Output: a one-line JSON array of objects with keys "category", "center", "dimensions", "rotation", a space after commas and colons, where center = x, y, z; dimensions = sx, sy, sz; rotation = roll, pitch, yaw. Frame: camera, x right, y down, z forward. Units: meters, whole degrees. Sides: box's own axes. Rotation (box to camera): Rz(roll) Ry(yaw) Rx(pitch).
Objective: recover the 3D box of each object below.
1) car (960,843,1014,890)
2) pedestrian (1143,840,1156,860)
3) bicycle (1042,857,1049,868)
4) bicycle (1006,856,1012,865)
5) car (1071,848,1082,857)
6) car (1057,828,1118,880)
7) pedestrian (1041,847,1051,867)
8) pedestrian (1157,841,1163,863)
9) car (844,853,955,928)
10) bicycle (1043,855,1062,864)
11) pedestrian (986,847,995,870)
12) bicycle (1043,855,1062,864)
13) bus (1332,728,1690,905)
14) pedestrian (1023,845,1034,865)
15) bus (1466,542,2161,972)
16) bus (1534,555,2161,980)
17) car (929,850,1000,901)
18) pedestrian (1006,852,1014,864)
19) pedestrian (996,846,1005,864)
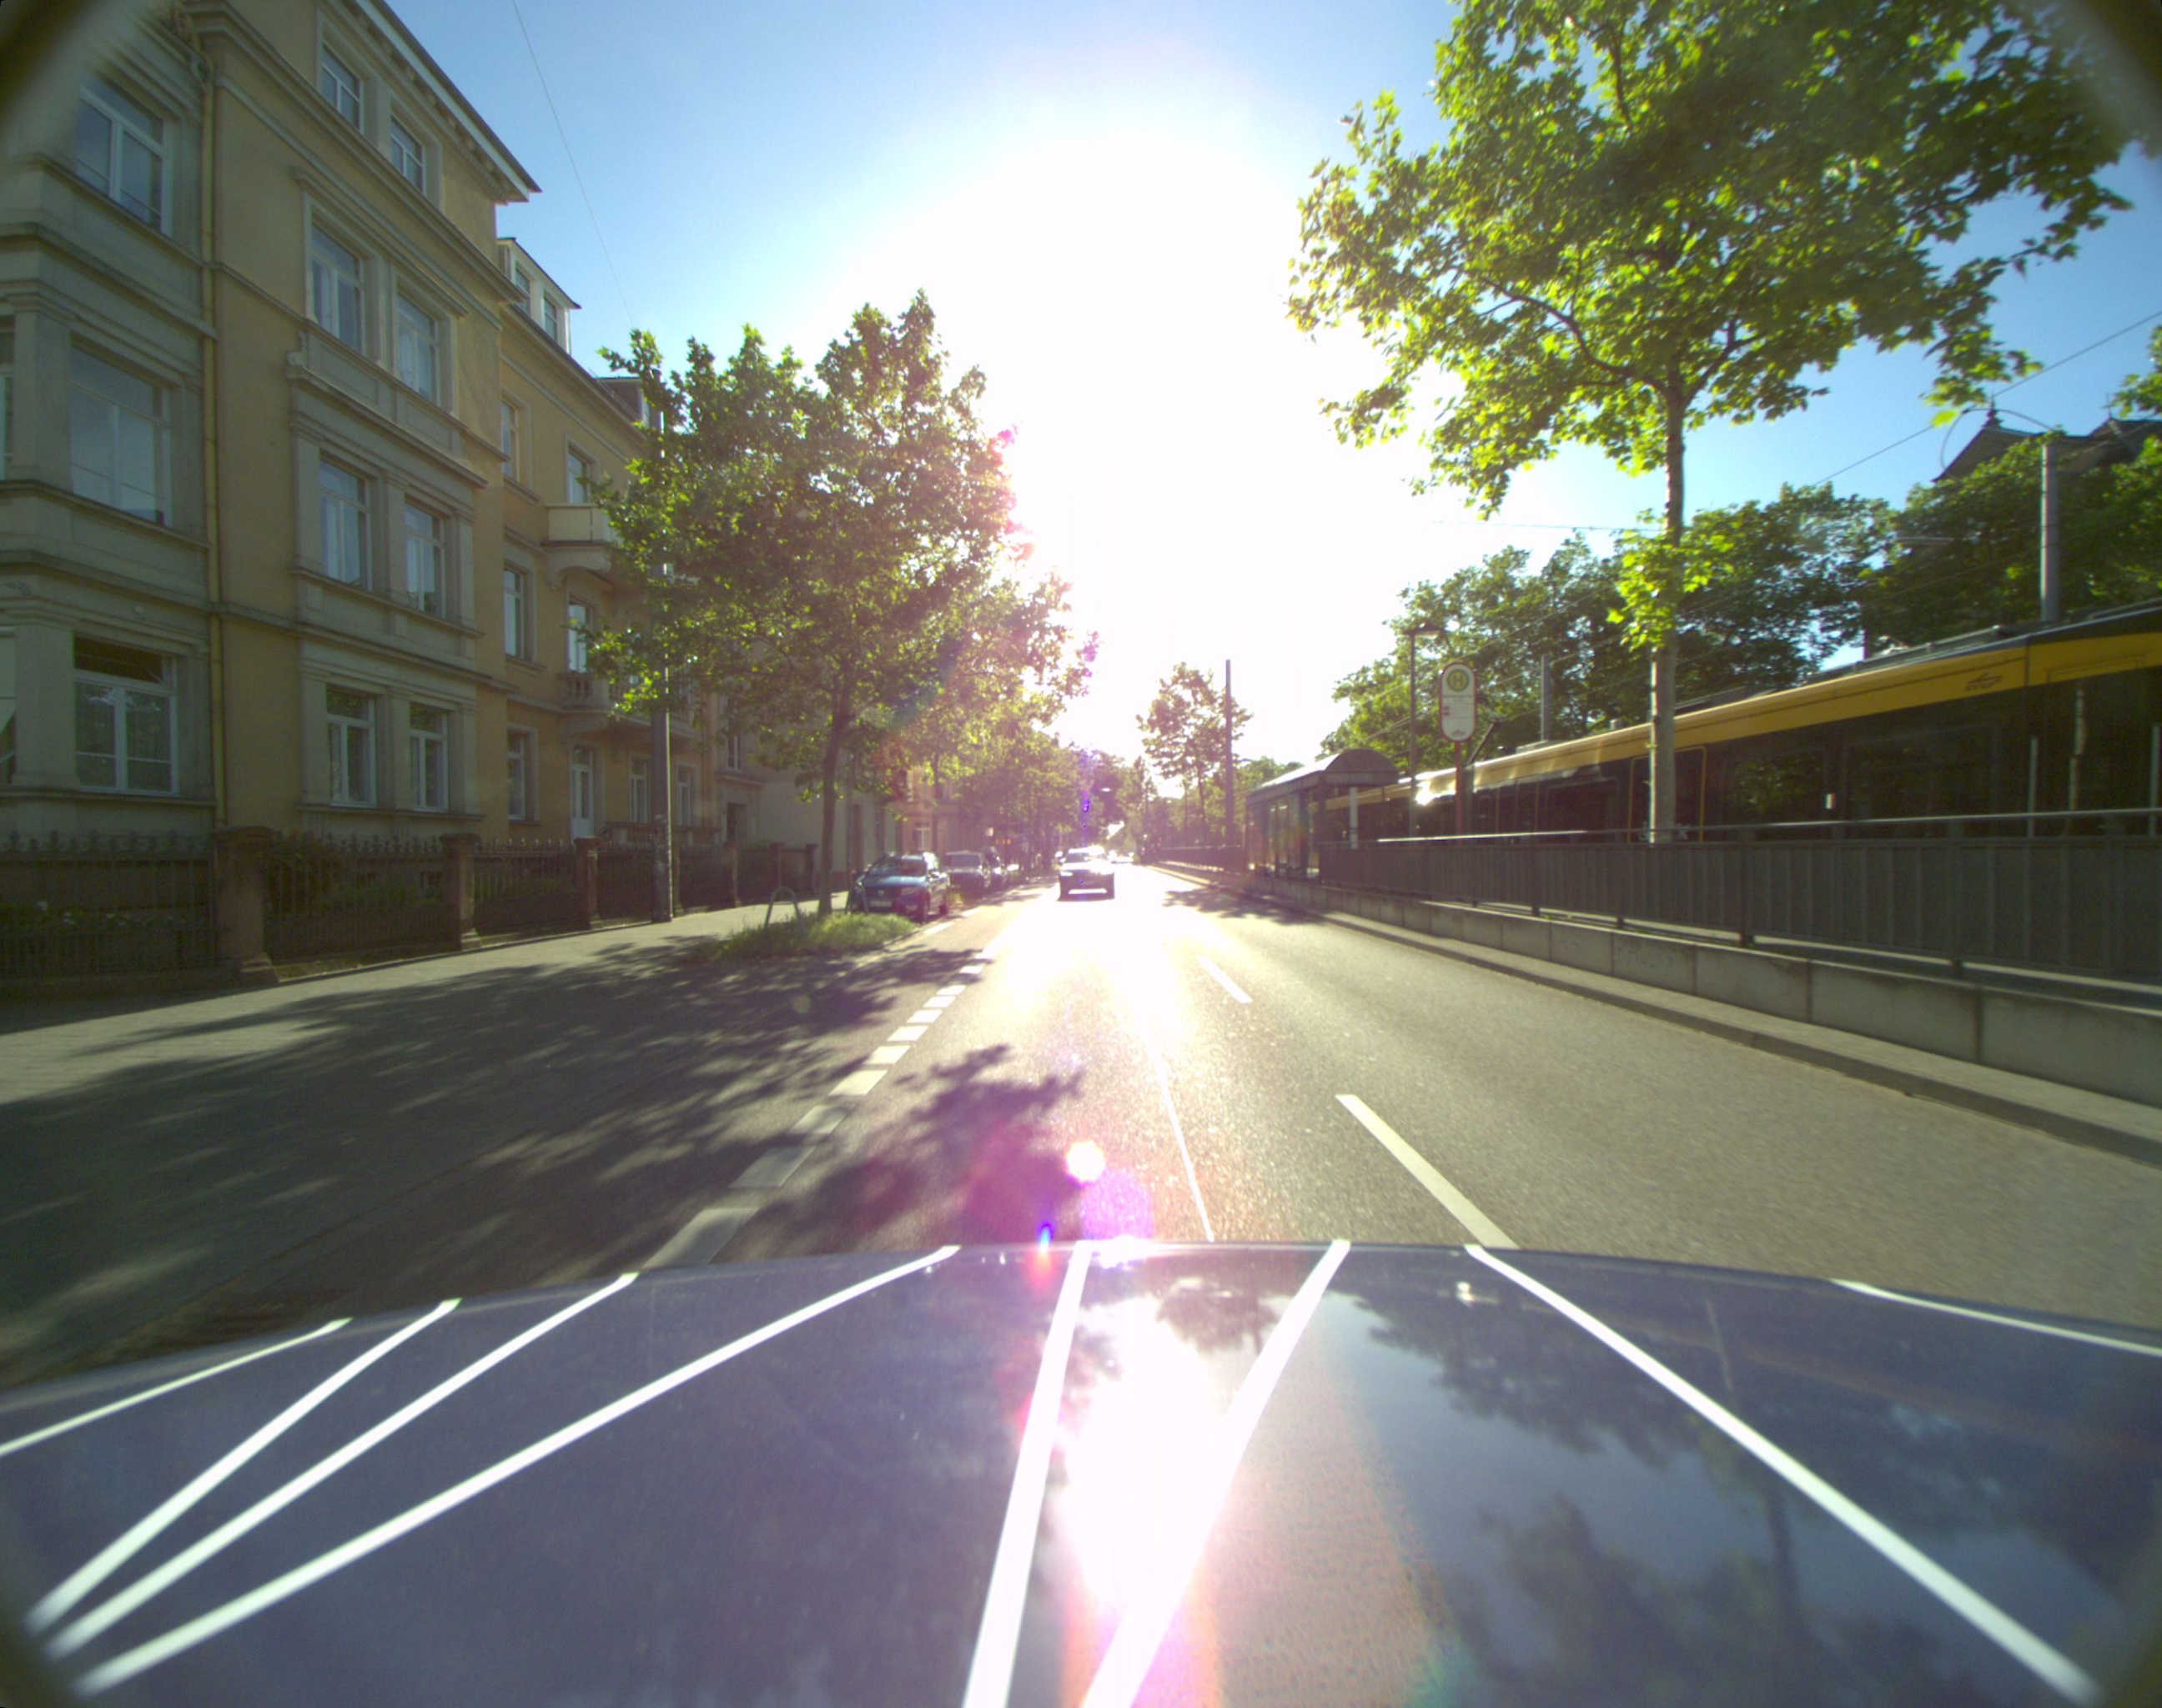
[{"category": "car", "center": [-4.157, 0.516, 34.406], "dimensions": [1.759, 1.953, 4.737], "rotation": [-1, 0, 1]}, {"category": "pedestrian", "center": [6.443, -0.401, 71.345], "dimensions": [1.075, 1.905, 1.126], "rotation": [0, 1, -1]}, {"category": "bicycle", "center": [-3.075, 0.741, 65.990], "dimensions": [0.429, 0.964, 1.750], "rotation": [-2, 0, 1]}, {"category": "bicycle", "center": [-7.719, 0.712, 81.948], "dimensions": [0.444, 0.987, 1.688], "rotation": [-2, 0, 0]}, {"category": "car", "center": [-0.681, -0.220, 121.637], "dimensions": [1.705, 1.416, 4.517], "rotation": [-2, 0, 0]}, {"category": "car", "center": [0.271, 0.017, 27.214], "dimensions": [1.968, 1.664, 4.000], "rotation": [-2, 0, 1]}, {"category": "pedestrian", "center": [-3.224, 0.262, 70.207], "dimensions": [0.643, 1.761, 0.869], "rotation": [-2, 0, 7]}, {"category": "pedestrian", "center": [6.926, -0.200, 66.686], "dimensions": [0.452, 1.892, 0.584], "rotation": [0, 1, -6]}, {"category": "car", "center": [-4.354, 0.822, 18.813], "dimensions": [1.696, 1.648, 4.039], "rotation": [-1, 0, 1]}, {"category": "bicycle", "center": [-3.147, 0.621, 84.329], "dimensions": [2.019, 0.987, 0.444], "rotation": [-2, 0, -1]}, {"category": "pedestrian", "center": [-7.376, 0.360, 61.822], "dimensions": [0.565, 1.816, 0.959], "rotation": [-2, 0, -2]}, {"category": "bicycle", "center": [-3.168, 0.619, 84.826], "dimensions": [2.009, 0.987, 0.444], "rotation": [-2, 0, -1]}, {"category": "bus", "center": [10.592, -0.730, 21.446], "dimensions": [2.876, 3.424, 13.217], "rotation": [-1, 0, 1]}, {"category": "pedestrian", "center": [-5.544, 0.126, 80.100], "dimensions": [0.884, 2.002, 0.857], "rotation": [-2, 0, 5]}, {"category": "bus", "center": [10.192, -0.790, 11.682], "dimensions": [2.876, 3.424, 11.611], "rotation": [-1, 0, 1]}, {"category": "bus", "center": [10.214, -0.715, 8.797], "dimensions": [2.876, 3.424, 12.215], "rotation": [-1, 0, 1]}, {"category": "car", "center": [-4.154, 0.710, 27.834], "dimensions": [1.802, 1.690, 4.737], "rotation": [0, 1, 1]}, {"category": "pedestrian", "center": [-7.175, 0.410, 76.679], "dimensions": [0.648, 1.154, 0.610], "rotation": [-2, 0, -10]}, {"category": "pedestrian", "center": [-8.027, 0.097, 75.863], "dimensions": [0.468, 1.800, 0.775], "rotation": [-2, 0, 33]}]
